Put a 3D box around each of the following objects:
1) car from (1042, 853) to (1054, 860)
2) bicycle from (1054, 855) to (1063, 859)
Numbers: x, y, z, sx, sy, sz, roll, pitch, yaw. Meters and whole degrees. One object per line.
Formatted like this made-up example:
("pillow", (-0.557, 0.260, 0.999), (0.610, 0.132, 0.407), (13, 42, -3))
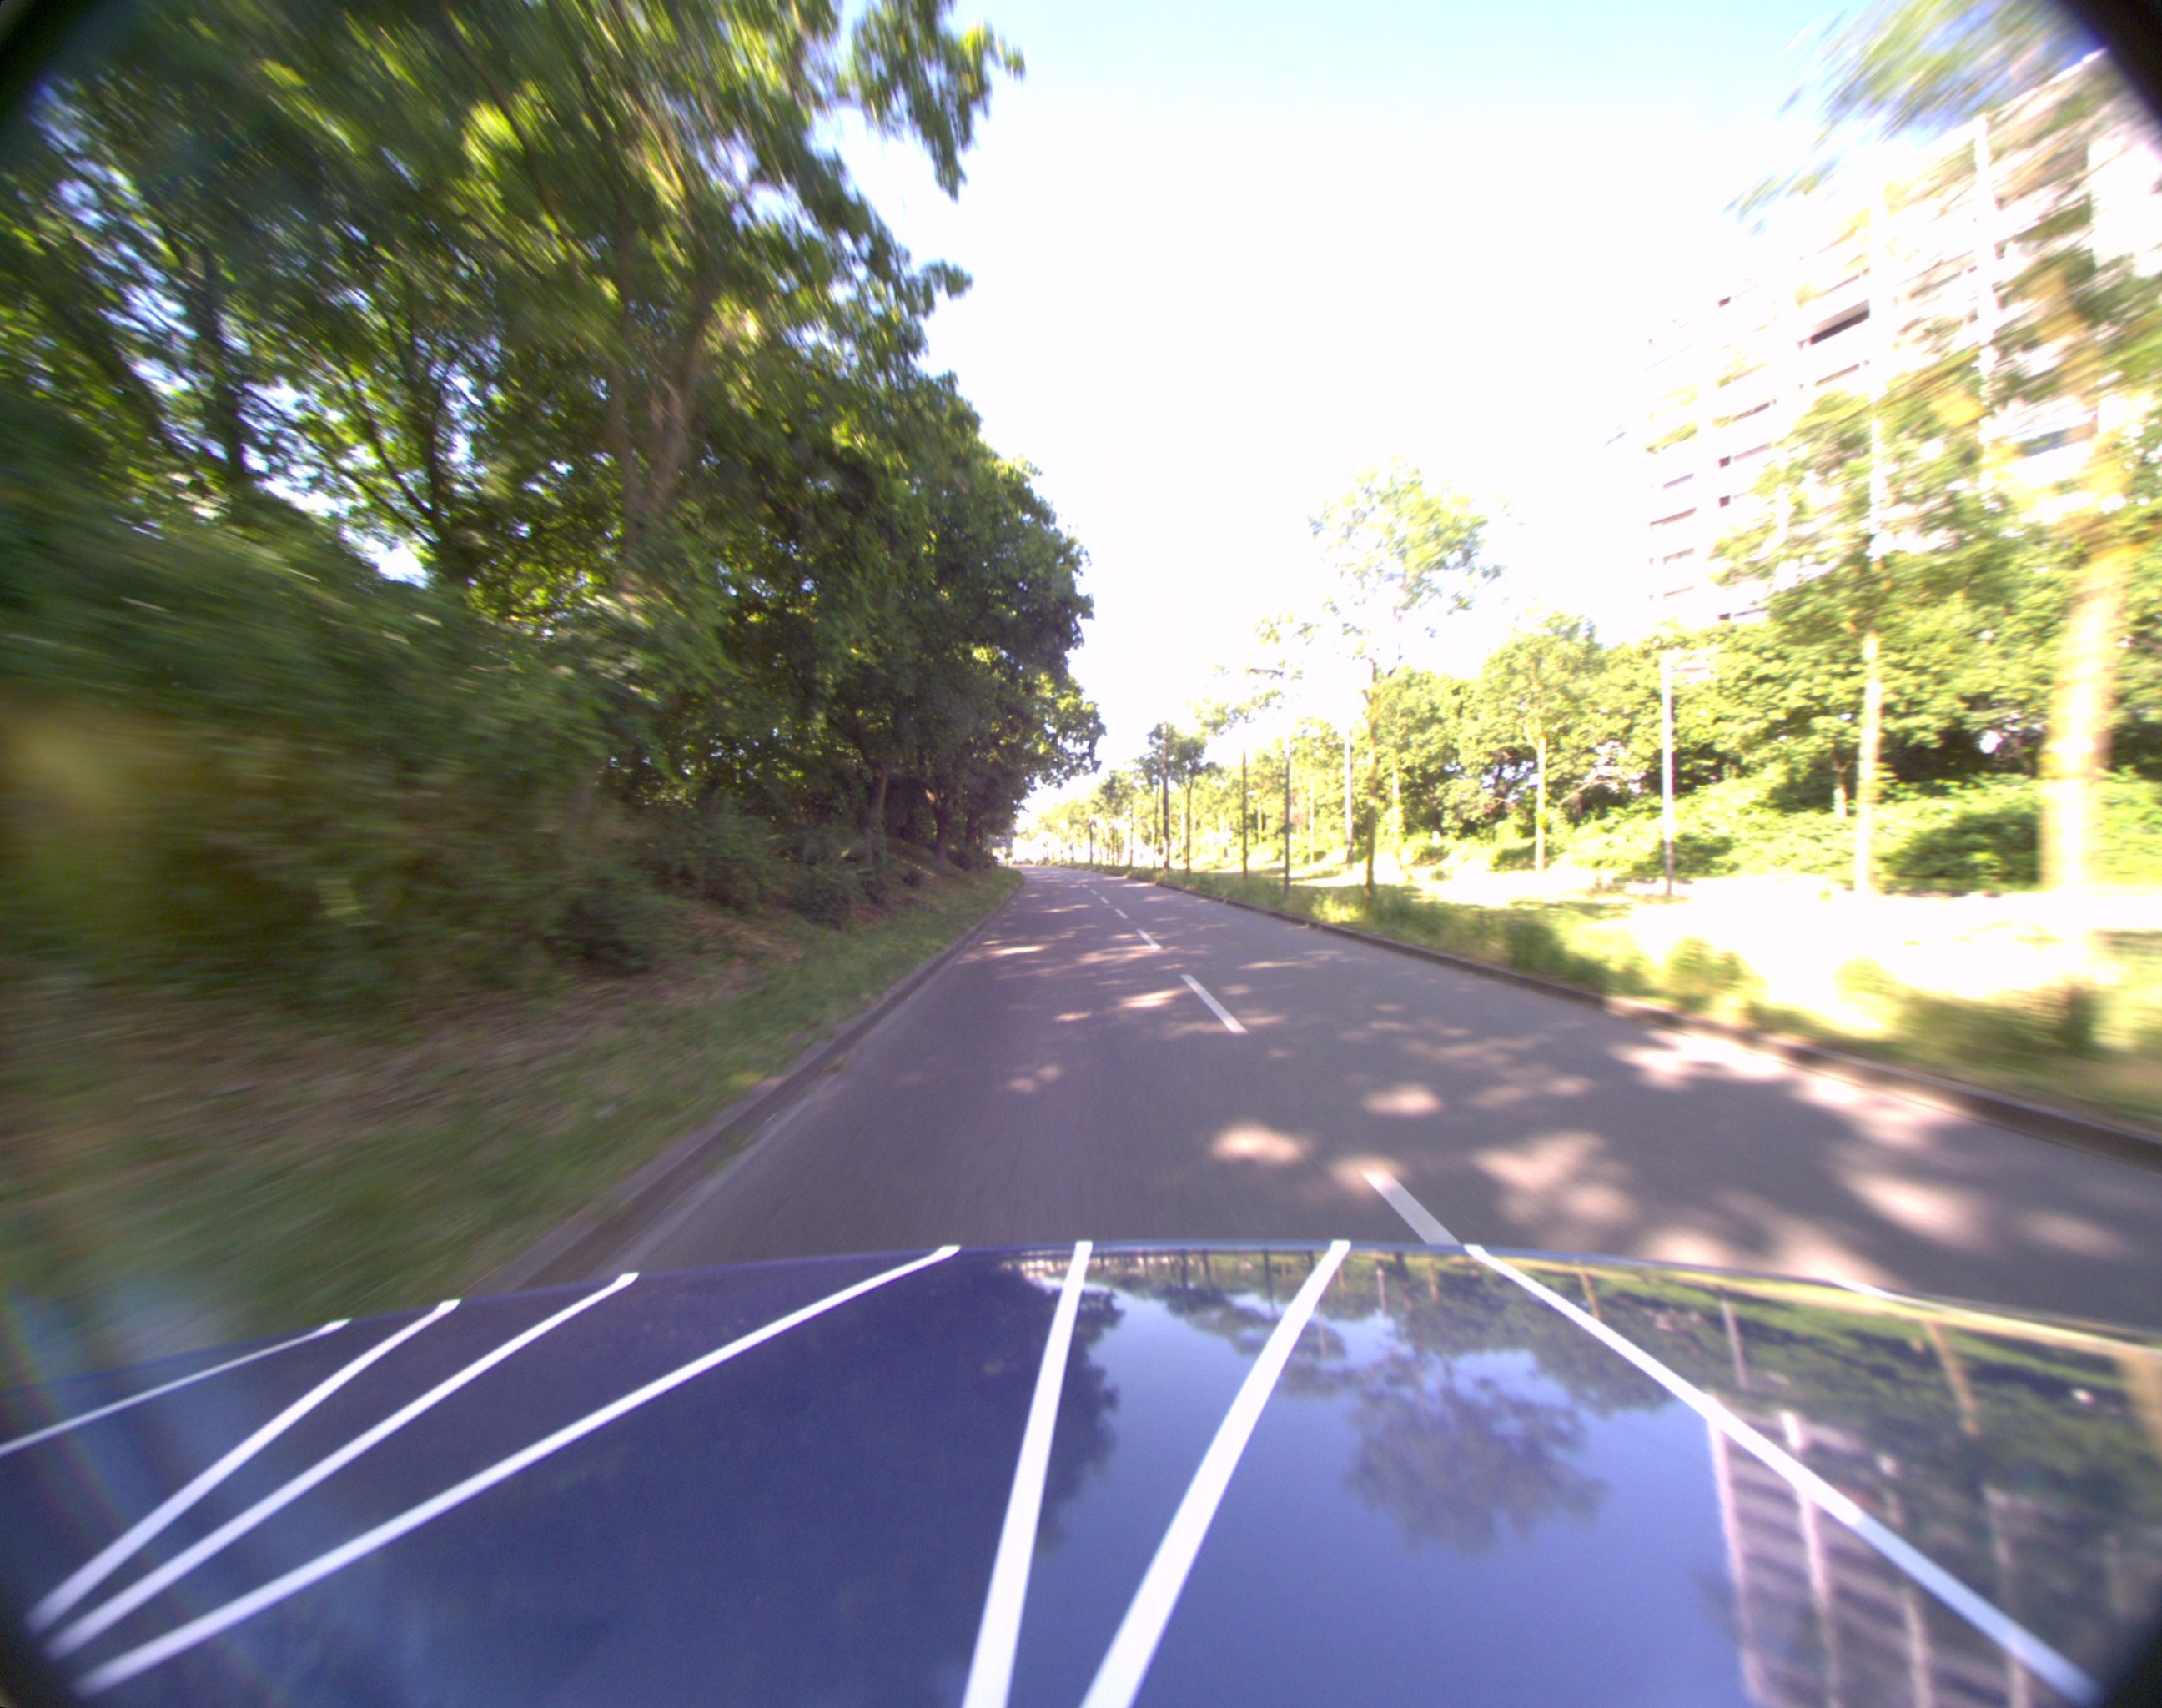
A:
("car", (-8.595, 0.638, 199.938), (1.827, 1.630, 4.483), (-1, -3, -20))
("bicycle", (-6.584, 0.896, 223.963), (2.583, 1.301, 0.661), (-1, 0, -23))
